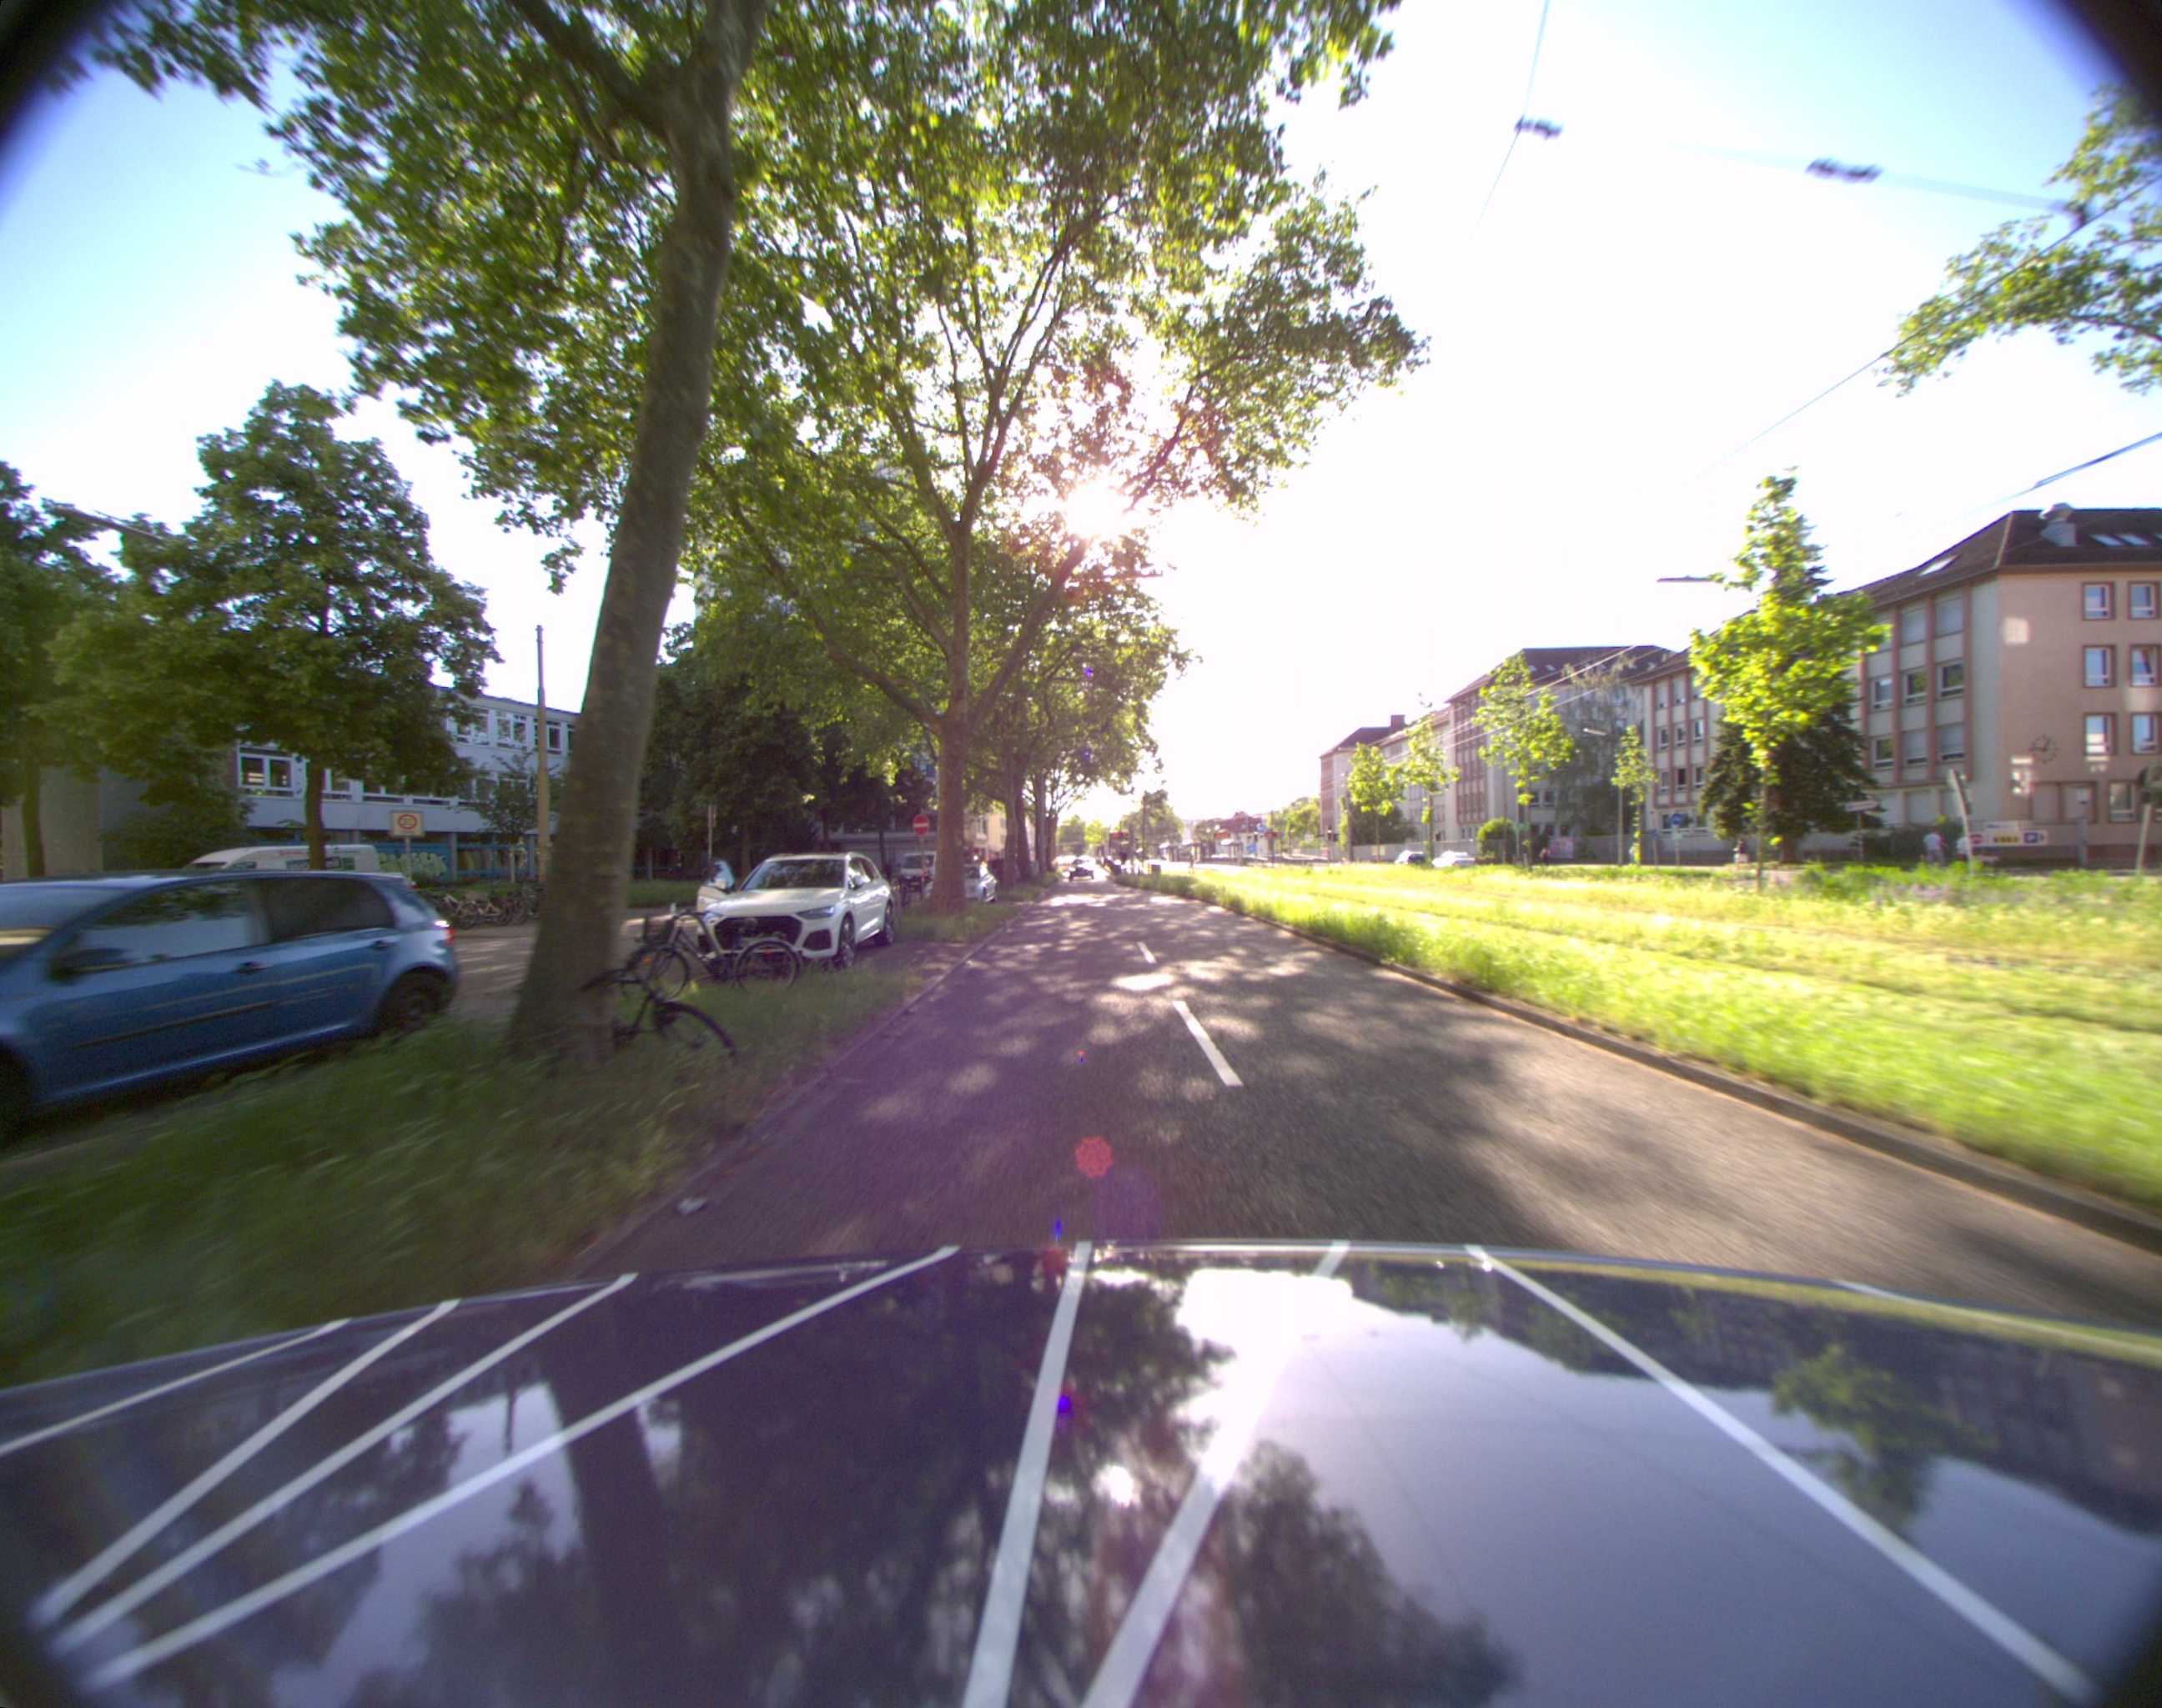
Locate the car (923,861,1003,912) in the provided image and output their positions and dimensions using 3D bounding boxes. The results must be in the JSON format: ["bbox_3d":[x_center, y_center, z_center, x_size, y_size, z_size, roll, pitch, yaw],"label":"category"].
[{"bbox_3d":[-3.732,0.980,24.937,1.758,1.390,5.026,-2,0,0],"label":"car"}]

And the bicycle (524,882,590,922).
[{"bbox_3d":[-15.260,1.383,22.117,2.191,1.097,0.509,-1,1,25],"label":"bicycle"}]

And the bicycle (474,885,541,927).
[{"bbox_3d":[-15.749,1.420,20.849,2.140,1.097,0.509,-1,1,25],"label":"bicycle"}]

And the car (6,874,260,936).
[{"bbox_3d":[-30.728,1.596,24.903,1.996,1.659,4.750,-1,0,15],"label":"car"}]

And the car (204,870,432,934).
[{"bbox_3d":[-22.769,1.372,22.950,1.996,1.618,4.395,-1,0,15],"label":"car"}]

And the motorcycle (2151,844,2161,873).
[{"bbox_3d":[35.790,0.137,24.763,0.335,0.941,1.044,-2,0,-3],"label":"motorcycle"}]

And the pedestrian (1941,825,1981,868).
[{"bbox_3d":[34.980,-0.284,30.209,0.683,1.685,0.882,-2,0,-28],"label":"pedestrian"}]

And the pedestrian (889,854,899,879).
[{"bbox_3d":[-13.115,0.886,53.316,0.582,1.686,0.625,-2,1,-17],"label":"pedestrian"}]

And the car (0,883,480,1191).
[{"bbox_3d":[-6.164,0.964,4.529,1.718,1.443,4.262,-1,-1,1],"label":"car"}]

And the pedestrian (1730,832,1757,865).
[{"bbox_3d":[34.348,-0.265,39.403,0.683,1.685,0.823,-2,0,-18],"label":"pedestrian"}]

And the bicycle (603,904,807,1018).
[{"bbox_3d":[-3.853,1.049,7.875,1.767,0.922,0.652,-2,1,-40],"label":"bicycle"}]

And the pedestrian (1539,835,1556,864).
[{"bbox_3d":[33.168,-0.295,53.994,0.664,2.002,0.860,-2,1,0],"label":"pedestrian"}]

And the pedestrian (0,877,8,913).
[{"bbox_3d":[-47.825,1.819,33.341,0.673,1.591,0.635,-1,1,16],"label":"pedestrian"}]

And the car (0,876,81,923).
[{"bbox_3d":[-40.221,1.723,27.488,1.996,1.618,4.395,-1,0,15],"label":"car"}]

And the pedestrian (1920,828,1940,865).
[{"bbox_3d":[38.304,-0.333,34.280,0.376,1.685,0.449,-2,0,7],"label":"pedestrian"}]

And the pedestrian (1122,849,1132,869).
[{"bbox_3d":[3.972,0.448,65.524,0.714,1.670,0.772,-3,0,-1],"label":"pedestrian"}]

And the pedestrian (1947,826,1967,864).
[{"bbox_3d":[38.973,-0.388,33.811,0.376,1.685,0.449,-2,0,7],"label":"pedestrian"}]

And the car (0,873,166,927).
[{"bbox_3d":[-35.328,1.562,26.158,1.996,1.618,4.395,-1,0,15],"label":"car"}]

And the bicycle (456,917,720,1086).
[{"bbox_3d":[-3.343,0.985,5.182,1.596,1.052,0.404,-2,1,7],"label":"bicycle"}]

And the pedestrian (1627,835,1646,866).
[{"bbox_3d":[33.054,-0.227,45.220,0.694,1.826,0.573,-2,1,0],"label":"pedestrian"}]

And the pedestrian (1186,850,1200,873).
[{"bbox_3d":[8.663,0.576,58.543,0.955,1.725,0.730,-2,0,3],"label":"pedestrian"}]

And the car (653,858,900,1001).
[{"bbox_3d":[-4.217,0.918,11.520,1.908,1.626,4.823,-2,0,-2],"label":"car"}]

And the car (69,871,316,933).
[{"bbox_3d":[-28.480,1.481,24.637,1.996,1.659,4.750,-1,0,15],"label":"car"}]

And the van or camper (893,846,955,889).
[{"bbox_3d":[-8.994,0.716,44.174,2.297,2.273,5.822,-2,0,0],"label":"van or camper"}]

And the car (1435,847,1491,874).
[{"bbox_3d":[24.789,0.386,49.437,1.769,1.613,4.477,-2,0,7],"label":"car"}]

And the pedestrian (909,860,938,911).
[{"bbox_3d":[-5.191,1.037,25.130,0.689,1.601,0.713,-4,0,1],"label":"pedestrian"}]

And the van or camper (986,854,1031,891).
[{"bbox_3d":[-3.421,0.828,35.480,1.506,1.578,2.836,-2,0,-16],"label":"van or camper"}]

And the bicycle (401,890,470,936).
[{"bbox_3d":[-16.452,1.482,19.348,2.140,1.097,0.473,-1,1,25],"label":"bicycle"}]

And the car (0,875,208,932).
[{"bbox_3d":[-33.315,1.606,25.773,1.996,1.618,4.395,-1,0,15],"label":"car"}]

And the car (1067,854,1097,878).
[{"bbox_3d":[0.118,0.866,57.195,1.979,1.660,4.620,-3,0,2],"label":"car"}]

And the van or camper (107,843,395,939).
[{"bbox_3d":[-25.349,1.002,23.631,2.150,2.621,5.594,-1,0,16],"label":"van or camper"}]

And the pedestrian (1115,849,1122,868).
[{"bbox_3d":[4.054,0.491,81.786,0.669,2.002,0.716,-2,1,2],"label":"pedestrian"}]

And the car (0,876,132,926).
[{"bbox_3d":[-37.654,1.680,26.883,1.996,1.618,4.659,-1,0,15],"label":"car"}]

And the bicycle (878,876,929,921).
[{"bbox_3d":[-4.159,1.019,17.970,0.640,0.920,2.164,-2,0,0],"label":"bicycle"}]

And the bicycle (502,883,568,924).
[{"bbox_3d":[-15.477,1.403,21.518,2.140,1.097,0.509,-1,1,25],"label":"bicycle"}]

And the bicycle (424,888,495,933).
[{"bbox_3d":[-16.223,1.457,19.821,2.140,1.097,0.509,-1,1,25],"label":"bicycle"}]

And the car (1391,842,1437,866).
[{"bbox_3d":[25.765,0.000,58.933,1.998,1.697,4.150,-2,0,4],"label":"car"}]

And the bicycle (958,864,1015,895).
[{"bbox_3d":[-3.602,0.975,29.152,2.075,1.118,0.677,-2,1,-1],"label":"bicycle"}]

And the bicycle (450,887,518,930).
[{"bbox_3d":[-15.983,1.442,20.331,2.140,1.097,0.509,-1,1,25],"label":"bicycle"}]

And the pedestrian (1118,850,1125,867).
[{"bbox_3d":[4.328,0.432,80.566,0.683,1.773,0.754,-2,1,1],"label":"pedestrian"}]
